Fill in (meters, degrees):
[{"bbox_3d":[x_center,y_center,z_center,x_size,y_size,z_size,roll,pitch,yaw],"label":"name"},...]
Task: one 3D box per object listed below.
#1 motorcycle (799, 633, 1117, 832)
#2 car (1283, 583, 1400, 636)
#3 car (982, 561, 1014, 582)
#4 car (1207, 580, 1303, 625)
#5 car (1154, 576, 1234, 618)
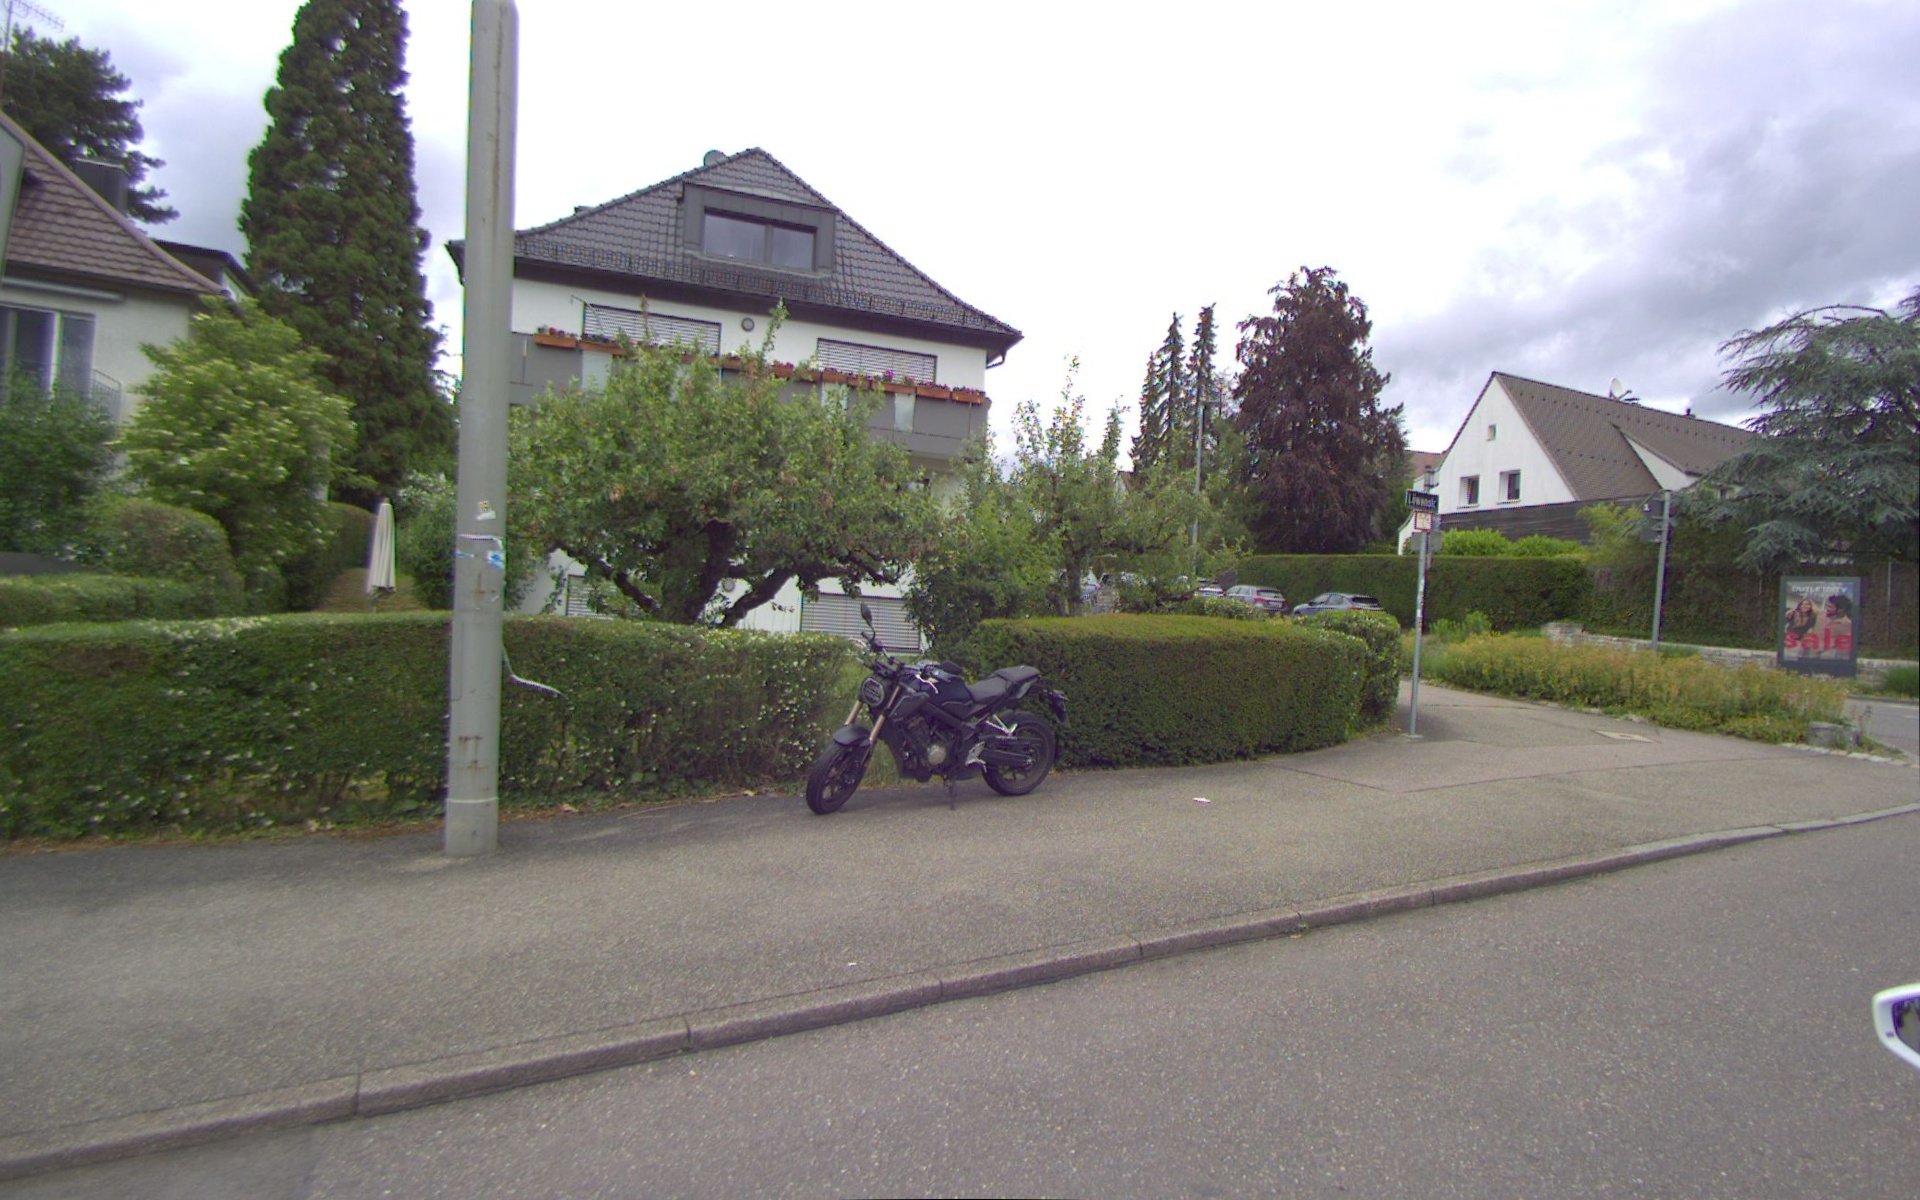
[{"bbox_3d":[0.035,0.820,6.901,2.124,1.155,0.767,1,0,-35],"label":"motorcycle"},{"bbox_3d":[13.429,0.296,35.622,1.830,1.483,3.987,5,2,-14],"label":"car"},{"bbox_3d":[3.124,-2.407,83.420,1.638,1.528,3.748,4,2,-12],"label":"car"},{"bbox_3d":[12.045,0.065,41.323,1.830,1.483,4.159,5,2,-14],"label":"car"},{"bbox_3d":[10.855,-0.179,46.934,1.830,1.603,4.159,5,2,-14],"label":"car"}]
